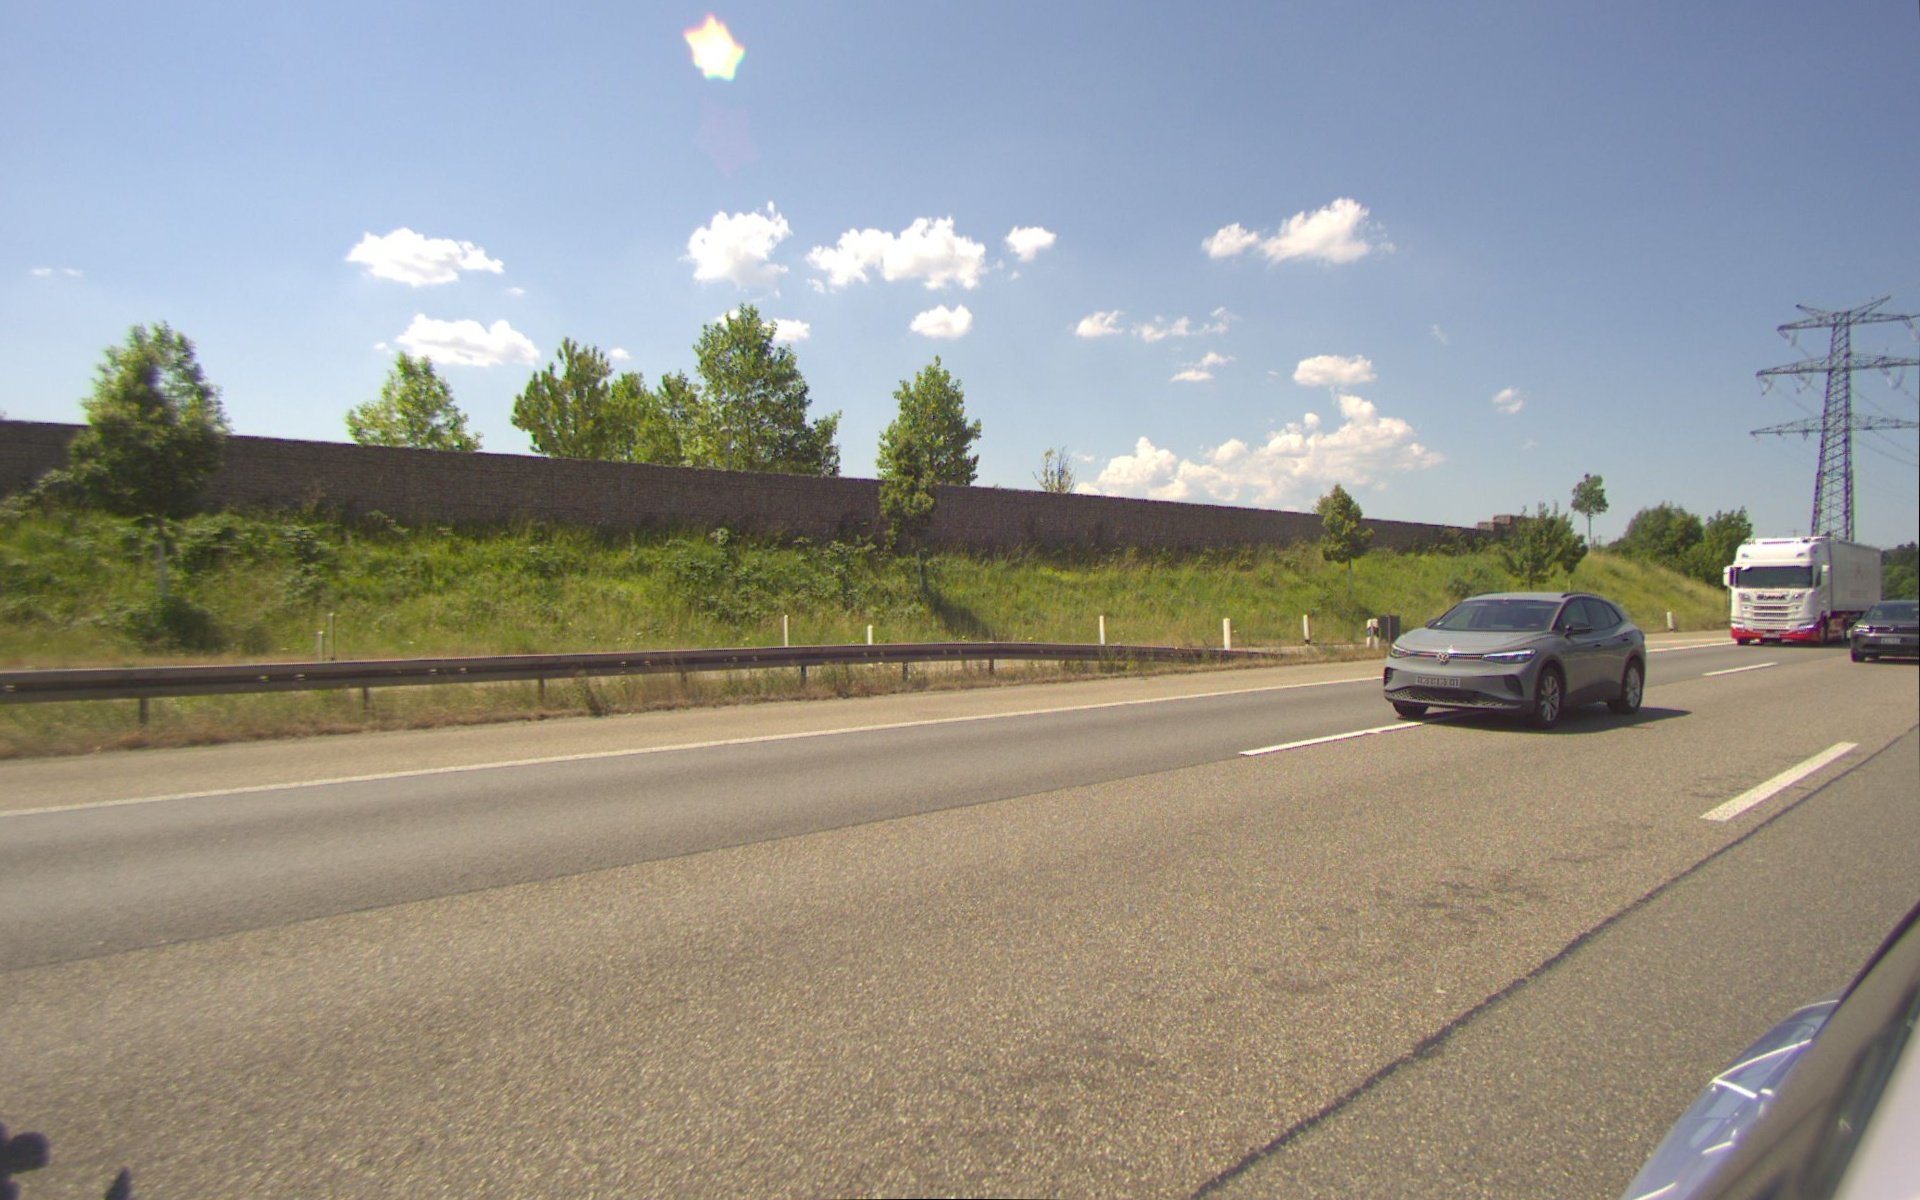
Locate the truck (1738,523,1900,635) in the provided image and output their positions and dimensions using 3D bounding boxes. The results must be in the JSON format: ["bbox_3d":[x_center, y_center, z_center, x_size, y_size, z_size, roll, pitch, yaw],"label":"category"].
[{"bbox_3d":[34.887,-0.755,40.836,12.283,3.957,3.074,0,0,-40],"label":"truck"}]

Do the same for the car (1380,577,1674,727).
[{"bbox_3d":[7.589,0.573,13.370,4.503,1.657,1.872,0,0,-39],"label":"car"}]

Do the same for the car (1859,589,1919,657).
[{"bbox_3d":[24.919,0.548,26.178,3.975,1.667,1.954,0,0,-40],"label":"car"}]

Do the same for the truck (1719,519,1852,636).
[{"bbox_3d":[29.725,-0.755,36.426,3.779,3.957,3.074,0,0,-40],"label":"truck"}]
